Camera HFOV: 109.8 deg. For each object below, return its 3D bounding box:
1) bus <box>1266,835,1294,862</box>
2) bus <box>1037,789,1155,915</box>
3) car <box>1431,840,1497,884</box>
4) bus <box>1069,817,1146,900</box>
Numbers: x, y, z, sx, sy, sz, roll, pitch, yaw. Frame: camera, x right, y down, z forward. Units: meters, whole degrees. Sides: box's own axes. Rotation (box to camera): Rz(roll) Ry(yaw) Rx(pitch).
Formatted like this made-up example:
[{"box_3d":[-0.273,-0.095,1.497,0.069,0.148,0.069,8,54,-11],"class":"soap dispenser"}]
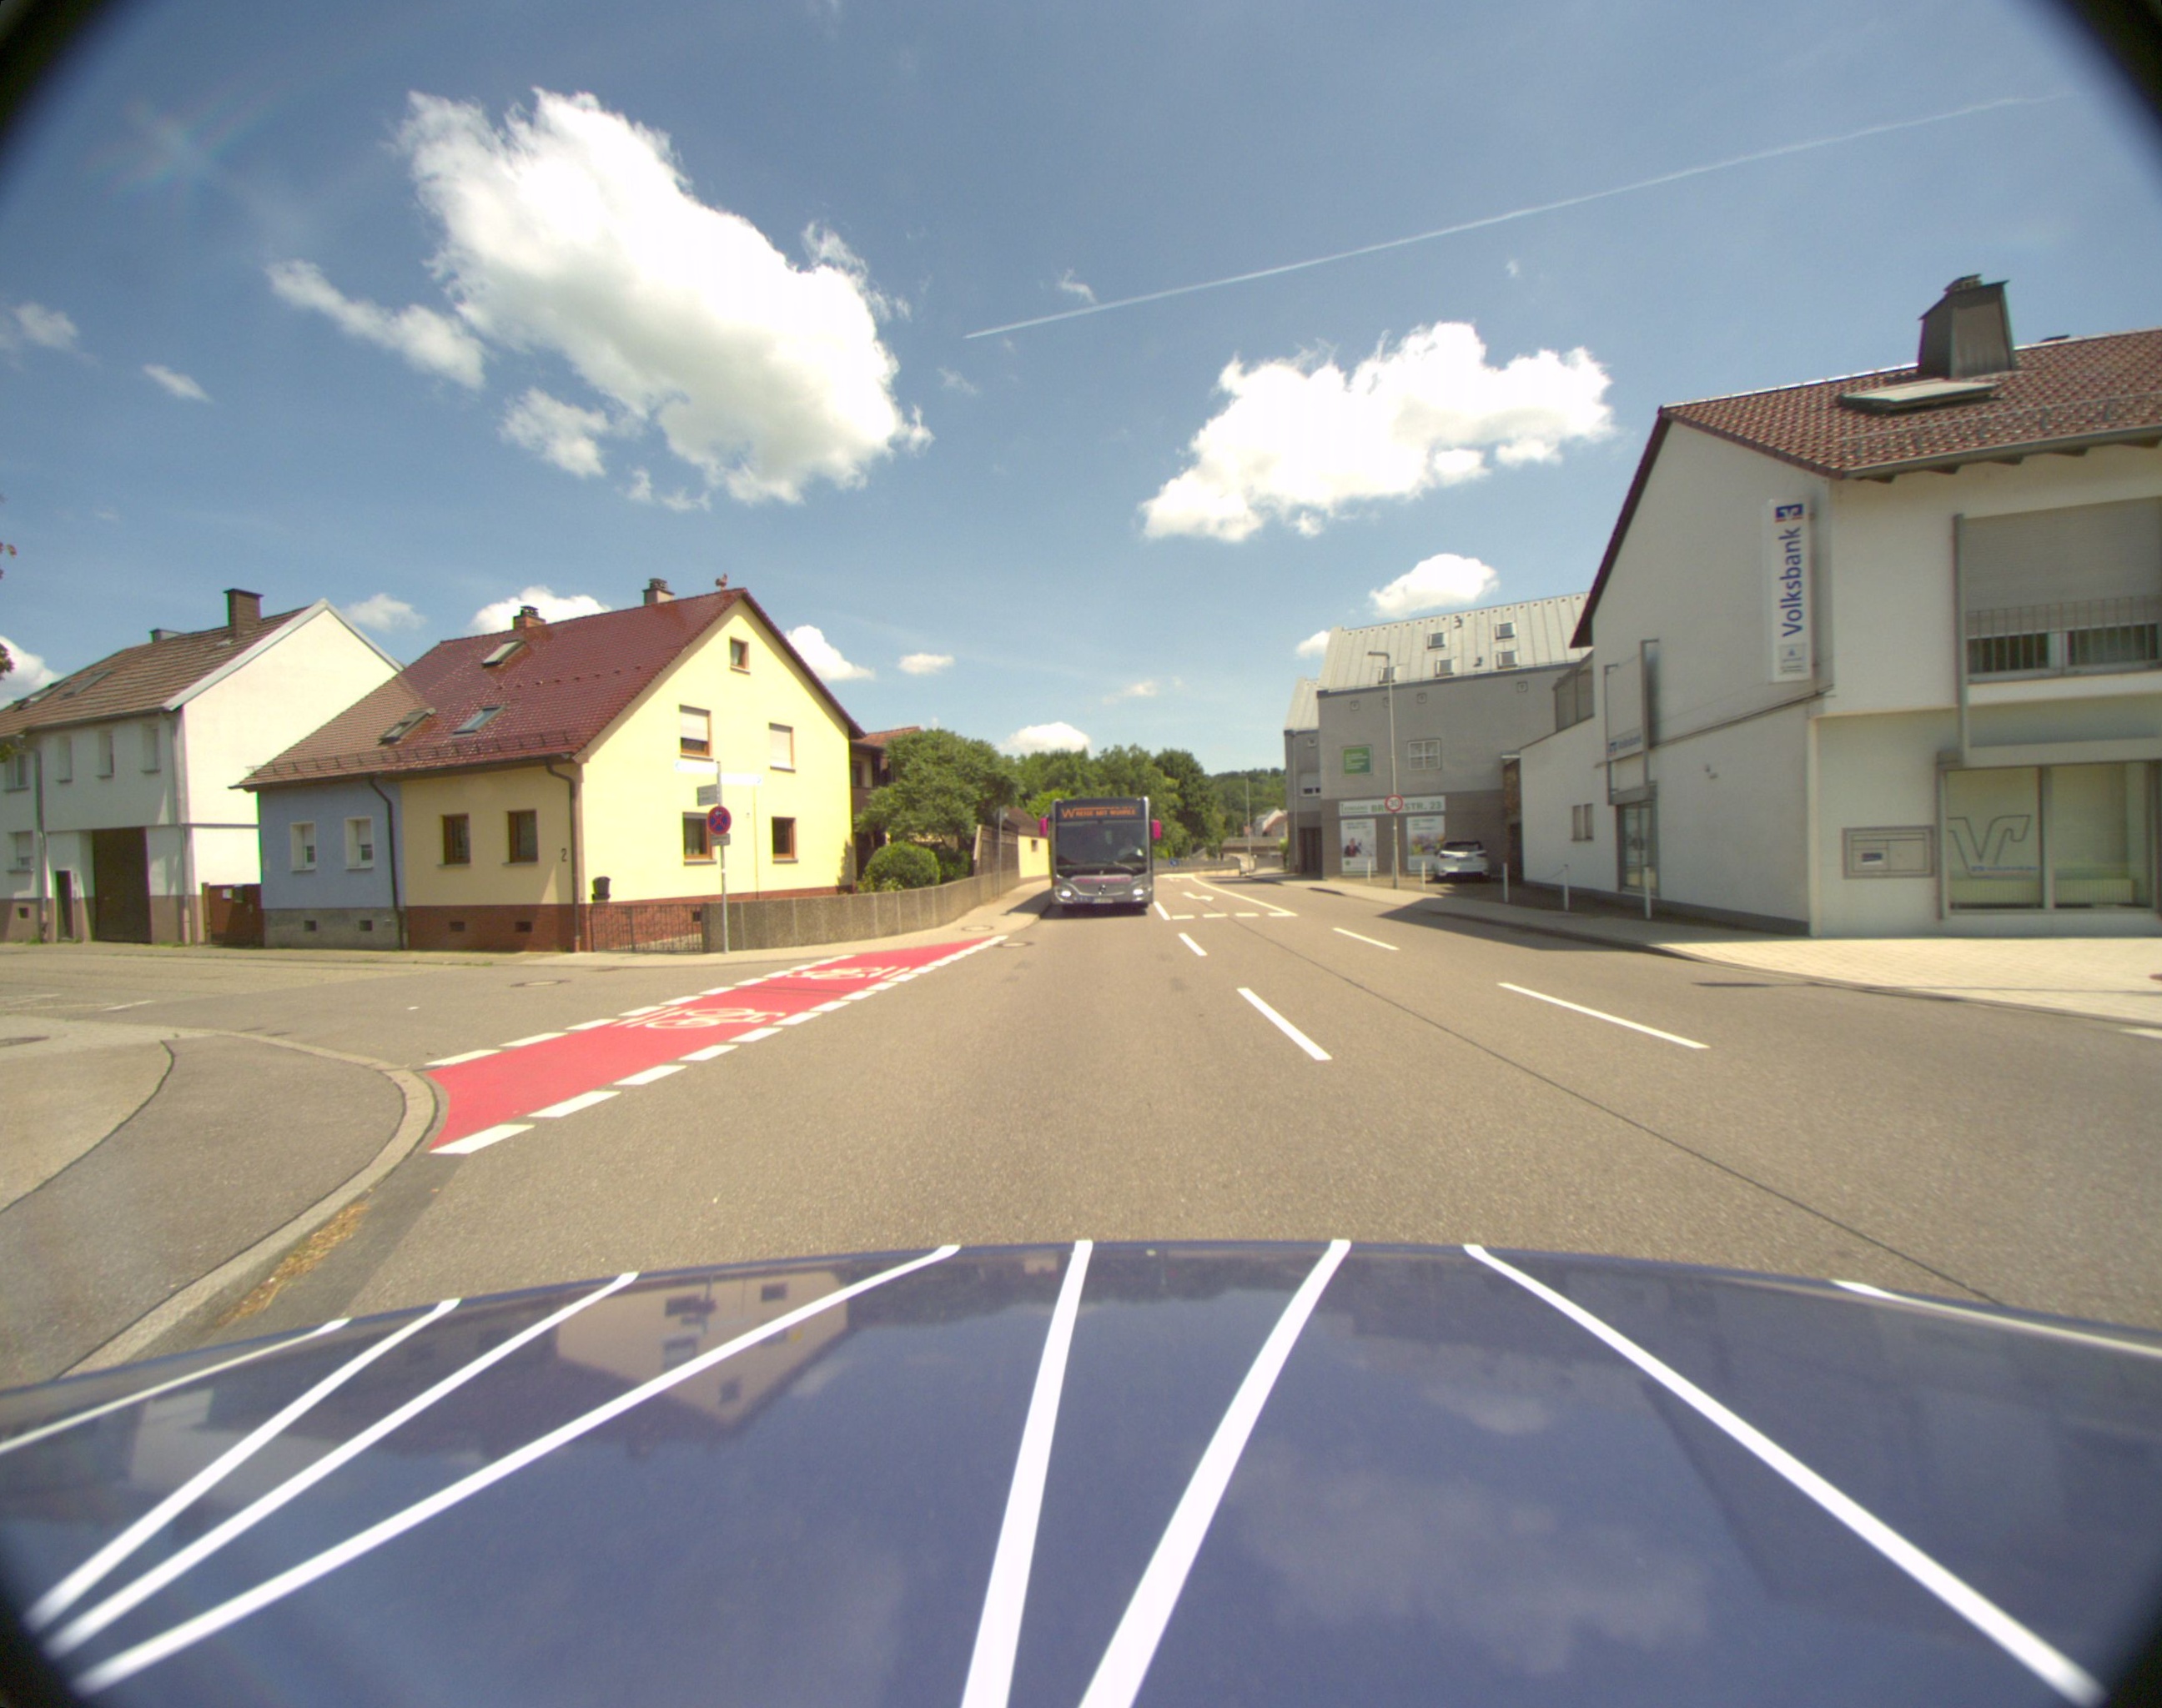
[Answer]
[{"box_3d":[31.867,-0.769,121.314,2.813,3.977,10.986,-2,-2,21],"class":"bus"},{"box_3d":[0.642,0.062,22.497,2.755,2.949,9.285,-1,-1,4],"class":"bus"},{"box_3d":[14.721,0.278,29.410,1.995,1.565,4.260,-1,0,23],"class":"car"},{"box_3d":[1.186,0.269,31.872,2.755,2.949,9.285,-1,-1,3],"class":"bus"}]
